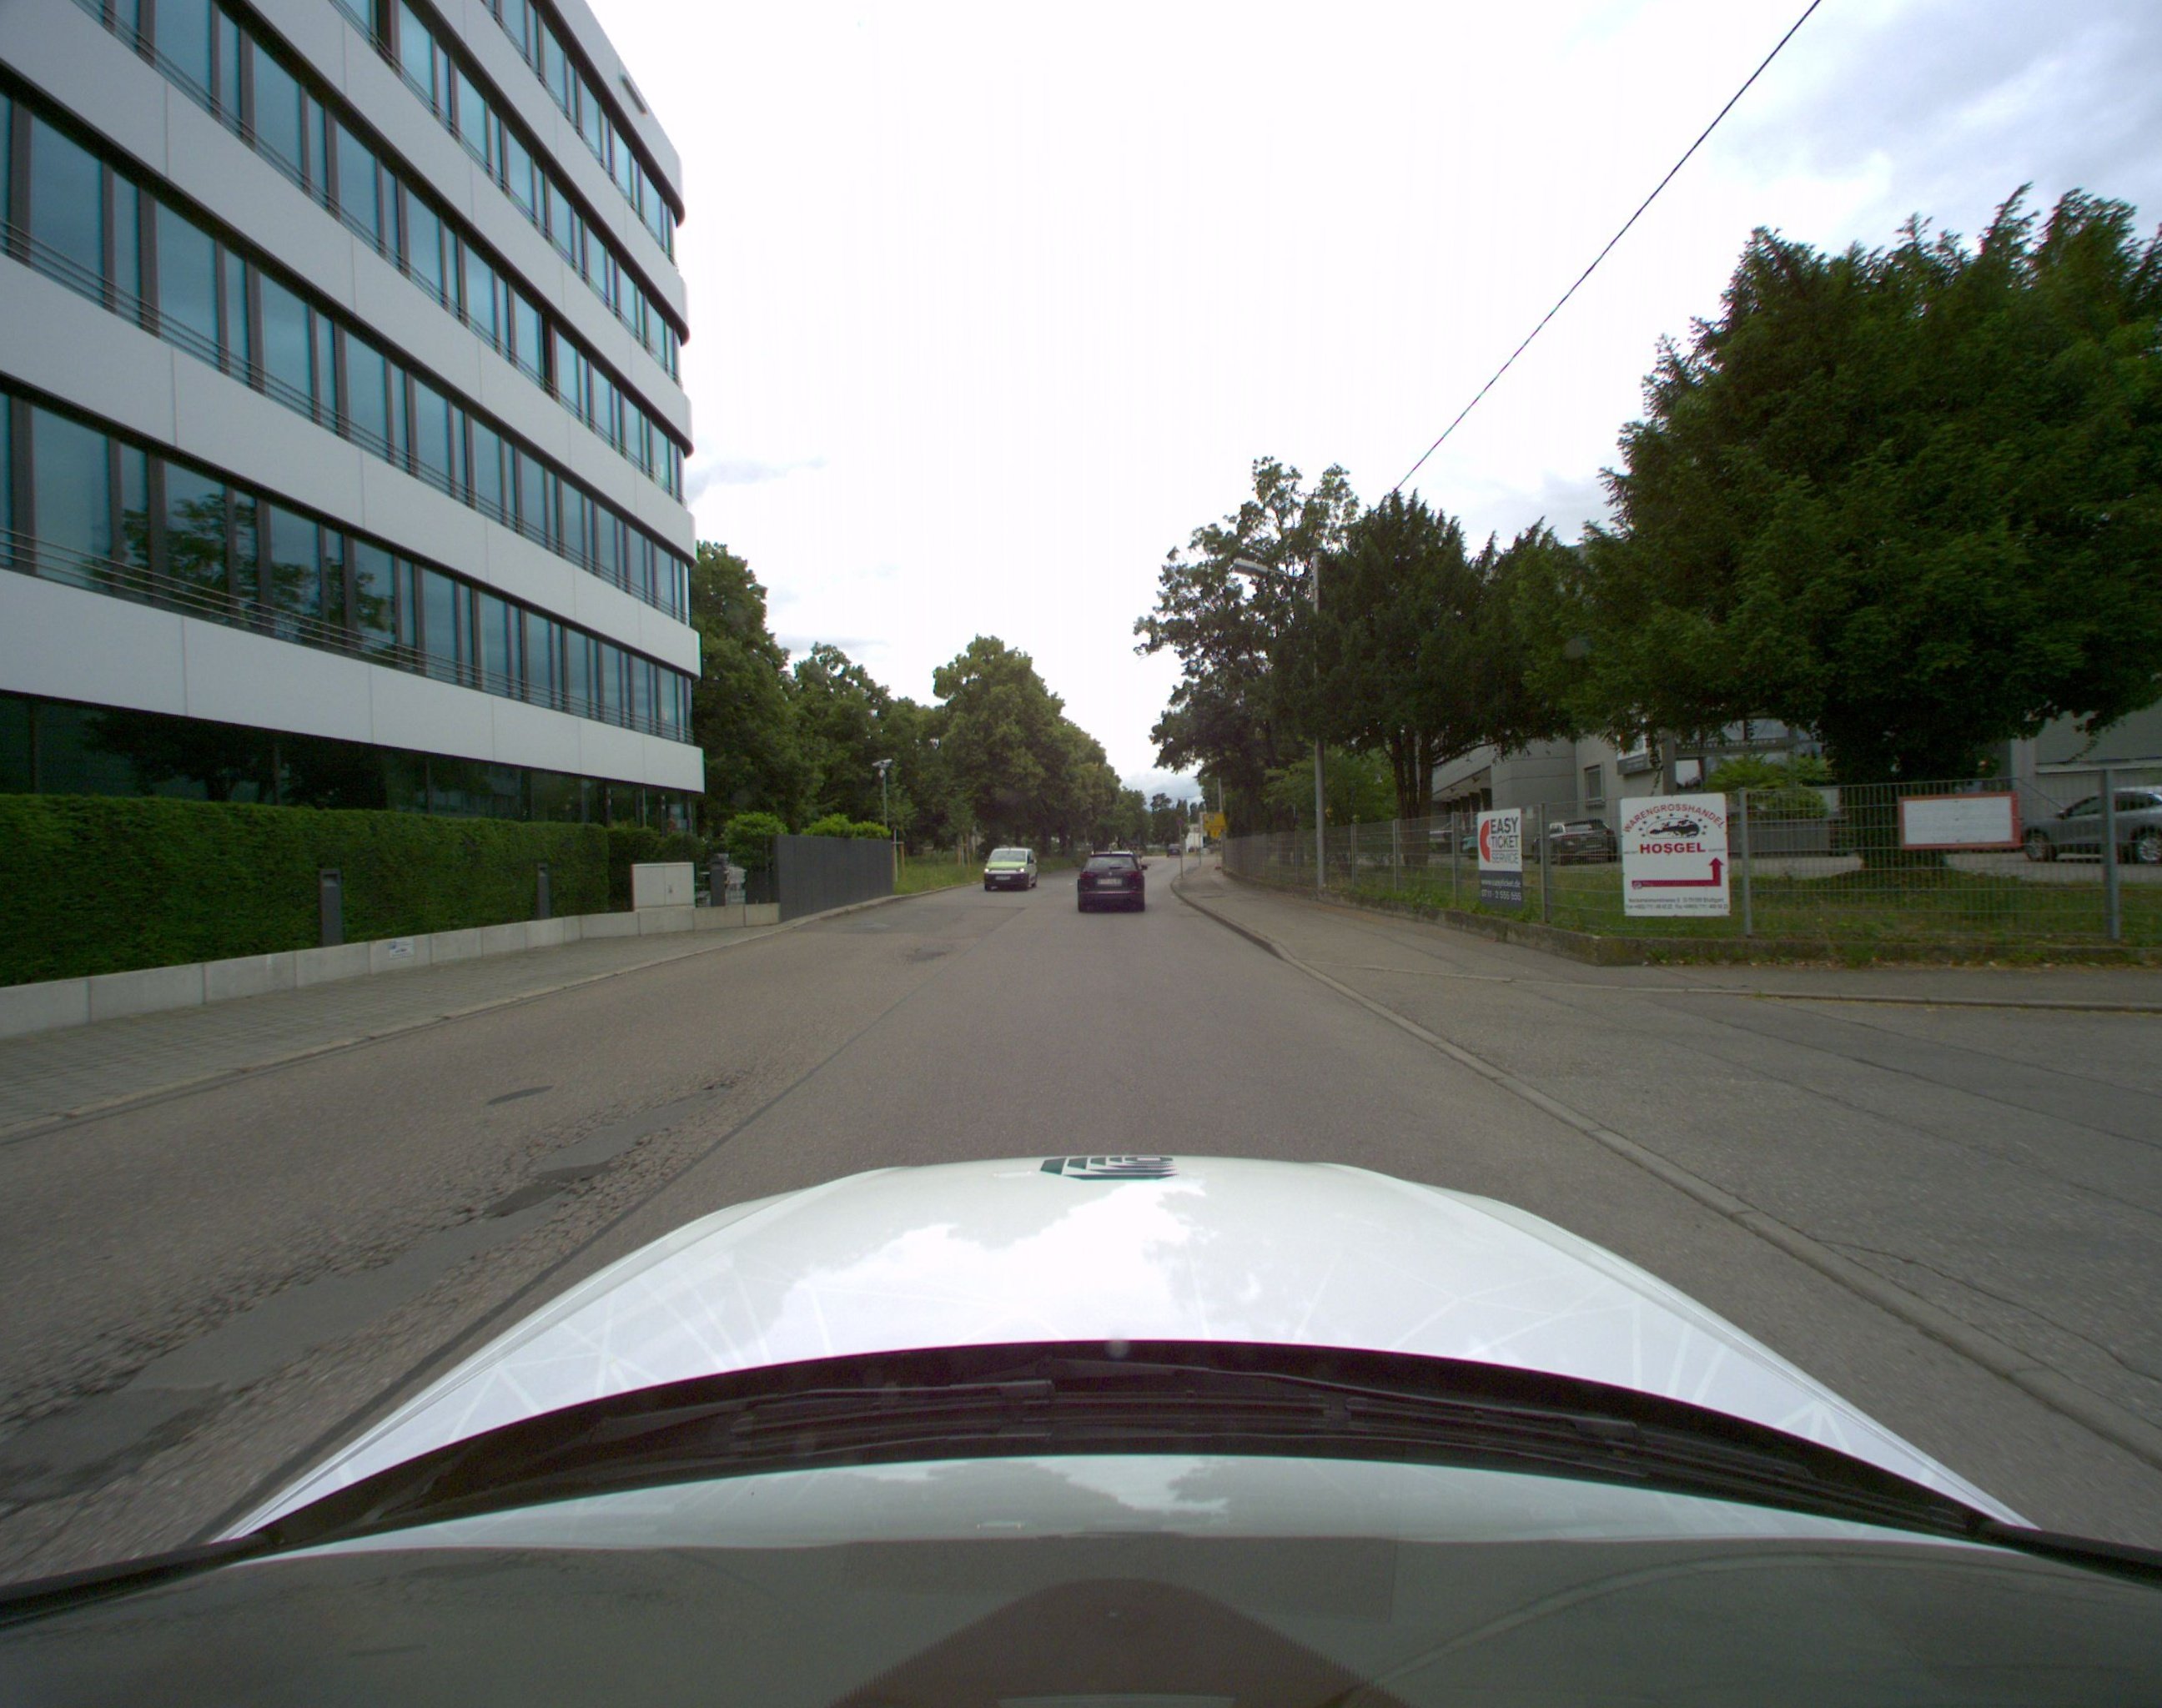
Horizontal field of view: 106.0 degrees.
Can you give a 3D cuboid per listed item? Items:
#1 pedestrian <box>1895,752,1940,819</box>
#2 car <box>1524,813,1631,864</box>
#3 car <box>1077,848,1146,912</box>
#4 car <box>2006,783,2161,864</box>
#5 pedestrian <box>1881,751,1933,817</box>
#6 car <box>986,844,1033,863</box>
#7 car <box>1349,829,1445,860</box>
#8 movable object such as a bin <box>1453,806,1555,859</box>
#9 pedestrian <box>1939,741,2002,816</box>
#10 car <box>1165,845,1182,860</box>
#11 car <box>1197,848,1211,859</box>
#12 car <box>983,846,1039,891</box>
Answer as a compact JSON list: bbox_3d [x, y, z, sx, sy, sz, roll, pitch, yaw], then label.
[{"bbox_3d":[24.658,-1.989,24.018,0.736,1.885,0.699,-3,0,35],"label":"pedestrian"},{"bbox_3d":[17.830,-0.571,29.513,1.979,1.566,4.459,-5,0,14],"label":"car"},{"bbox_3d":[0.892,0.688,22.881,1.732,1.618,3.644,-2,-1,3],"label":"car"},{"bbox_3d":[23.171,-0.709,17.681,1.978,1.612,4.462,-3,1,17],"label":"car"},{"bbox_3d":[23.355,-1.951,23.047,0.909,1.752,0.802,-3,0,41],"label":"pedestrian"},{"bbox_3d":[-9.835,-0.077,112.269,6.044,2.387,2.397,-2,0,3],"label":"car"},{"bbox_3d":[17.894,-0.501,46.334,2.010,1.474,4.638,-3,-1,-40],"label":"car"},{"bbox_3d":[20.367,-1.010,39.363,3.959,2.305,1.960,-3,0,13],"label":"movable object such as a bin"},{"bbox_3d":[25.148,-2.114,23.050,0.788,2.013,0.925,-3,0,19],"label":"pedestrian"},{"bbox_3d":[10.696,-0.192,94.401,1.652,1.574,3.830,-3,0,2],"label":"car"},{"bbox_3d":[21.375,-0.134,141.261,1.979,1.786,4.016,-1,0,15],"label":"car"},{"bbox_3d":[-2.889,0.571,34.640,1.800,1.764,4.209,-1,0,3],"label":"car"}]
